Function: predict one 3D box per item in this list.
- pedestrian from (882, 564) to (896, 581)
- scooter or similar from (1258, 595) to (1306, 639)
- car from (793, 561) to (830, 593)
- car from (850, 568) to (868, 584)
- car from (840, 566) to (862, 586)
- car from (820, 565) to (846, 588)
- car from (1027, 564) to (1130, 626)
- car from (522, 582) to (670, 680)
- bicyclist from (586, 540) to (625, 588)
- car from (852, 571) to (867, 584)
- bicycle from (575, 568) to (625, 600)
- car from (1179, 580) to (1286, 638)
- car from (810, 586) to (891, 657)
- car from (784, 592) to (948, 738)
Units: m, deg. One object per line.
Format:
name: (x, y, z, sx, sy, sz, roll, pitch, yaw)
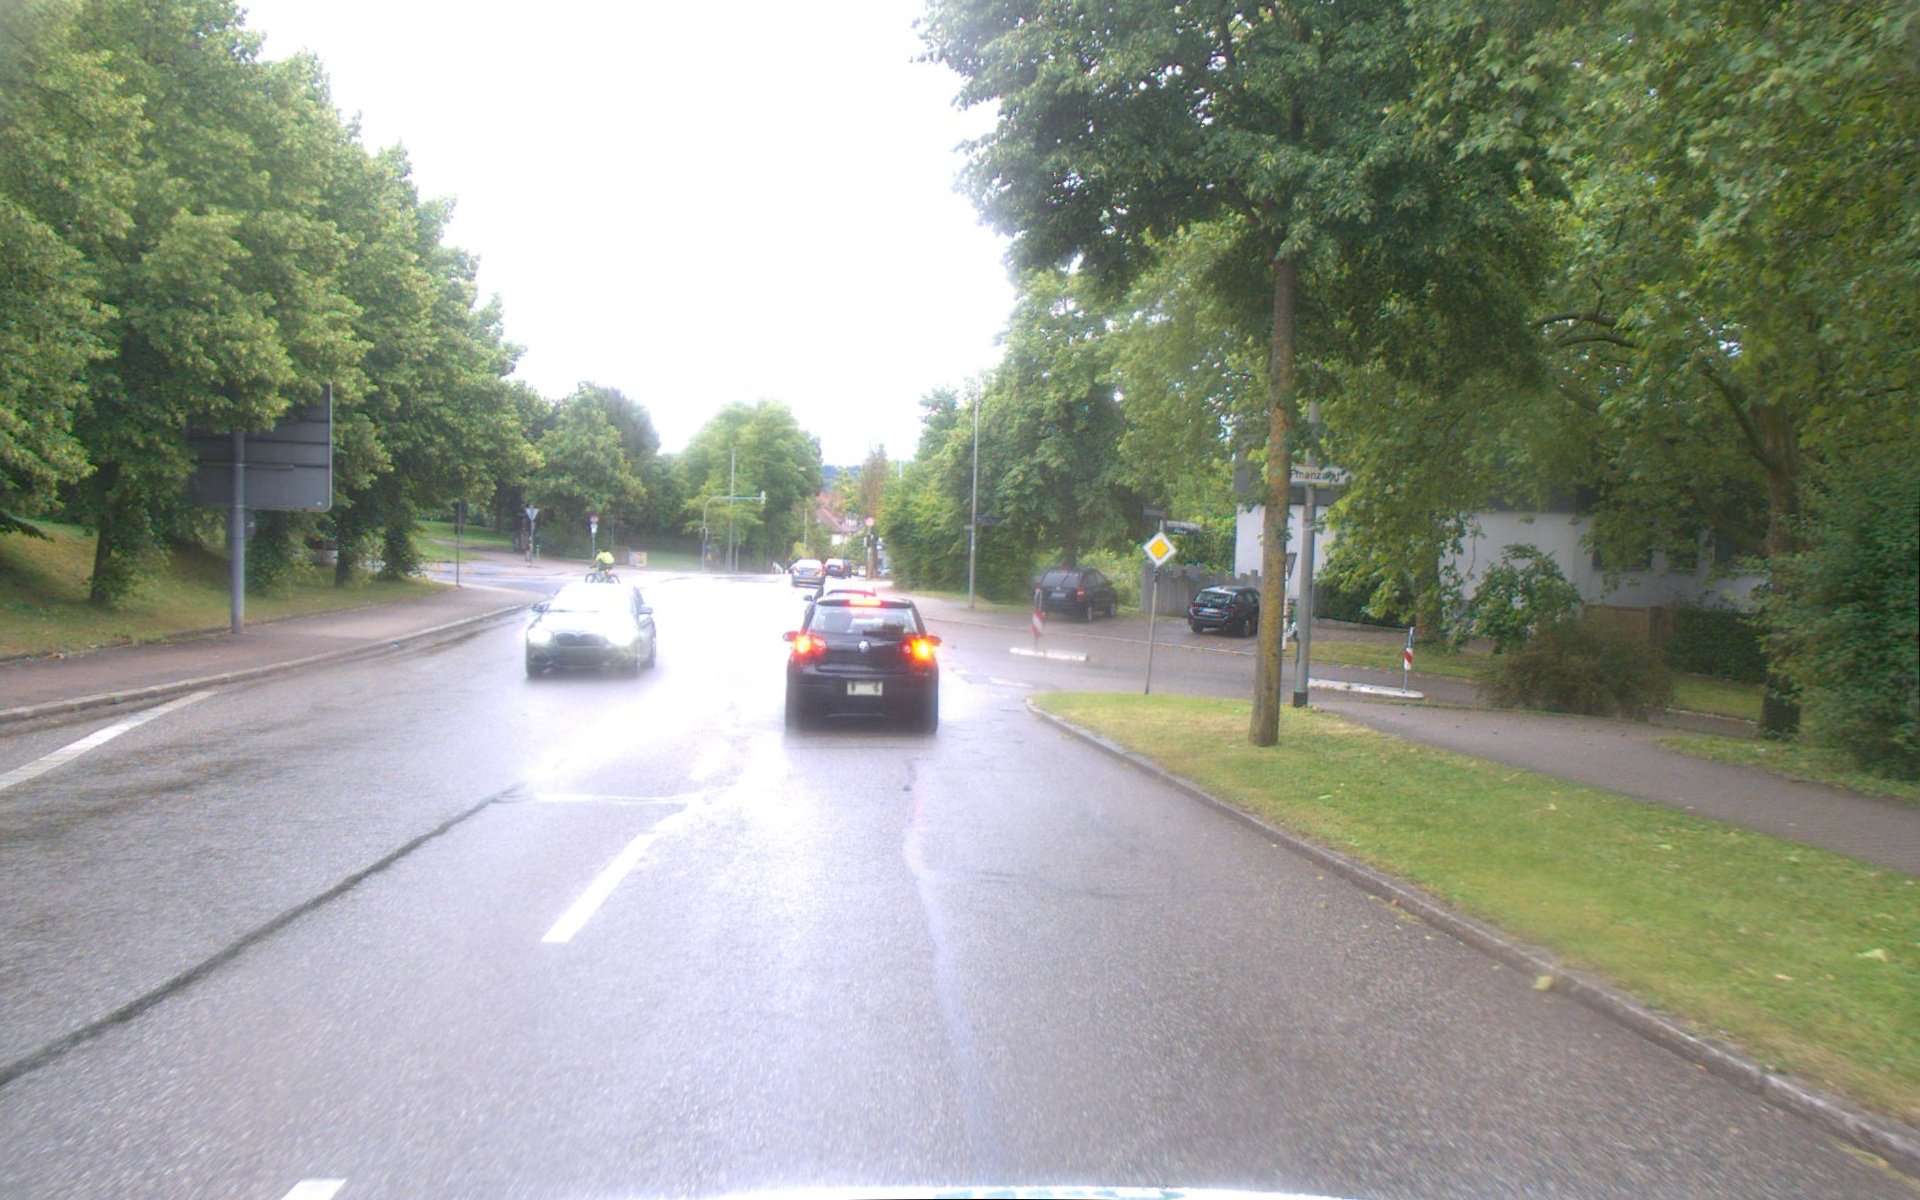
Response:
pedestrian: (-5.800, -2.232, 134.999, 1.051, 1.379, 0.919, 1, 1, 5)
scooter or similar: (9.814, 0.517, 50.401, 1.312, 1.308, 0.560, 1, 0, -12)
car: (-7.762, -1.244, 86.941, 1.688, 1.489, 3.998, 5, 1, -3)
car: (-10.277, -2.446, 167.770, 1.688, 1.489, 3.998, 5, 1, -3)
car: (-9.113, -2.046, 138.863, 1.688, 1.489, 3.998, 5, 1, -3)
car: (-9.289, -1.730, 120.922, 1.688, 1.489, 3.998, 5, 1, -3)
car: (4.009, -0.220, 54.966, 1.908, 1.718, 4.904, 4, 4, 22)
car: (-5.852, 0.492, 27.003, 1.687, 1.408, 4.136, 2, -1, -4)
bicyclist: (-13.747, -1.399, 64.203, 1.262, 1.786, 0.850, 2, 0, 41)
car: (-12.380, -2.811, 204.332, 1.688, 1.489, 3.998, 5, 1, -3)
bicycle: (-14.005, -0.632, 64.389, 2.001, 1.175, 0.850, 2, 0, 41)
car: (8.723, 0.248, 52.694, 1.720, 1.494, 4.556, 5, 5, 31)
car: (-2.588, 0.455, 38.378, 1.720, 1.489, 3.996, 2, 1, -5)
car: (-1.089, 0.708, 19.555, 1.687, 1.489, 3.997, 2, -1, -3)
